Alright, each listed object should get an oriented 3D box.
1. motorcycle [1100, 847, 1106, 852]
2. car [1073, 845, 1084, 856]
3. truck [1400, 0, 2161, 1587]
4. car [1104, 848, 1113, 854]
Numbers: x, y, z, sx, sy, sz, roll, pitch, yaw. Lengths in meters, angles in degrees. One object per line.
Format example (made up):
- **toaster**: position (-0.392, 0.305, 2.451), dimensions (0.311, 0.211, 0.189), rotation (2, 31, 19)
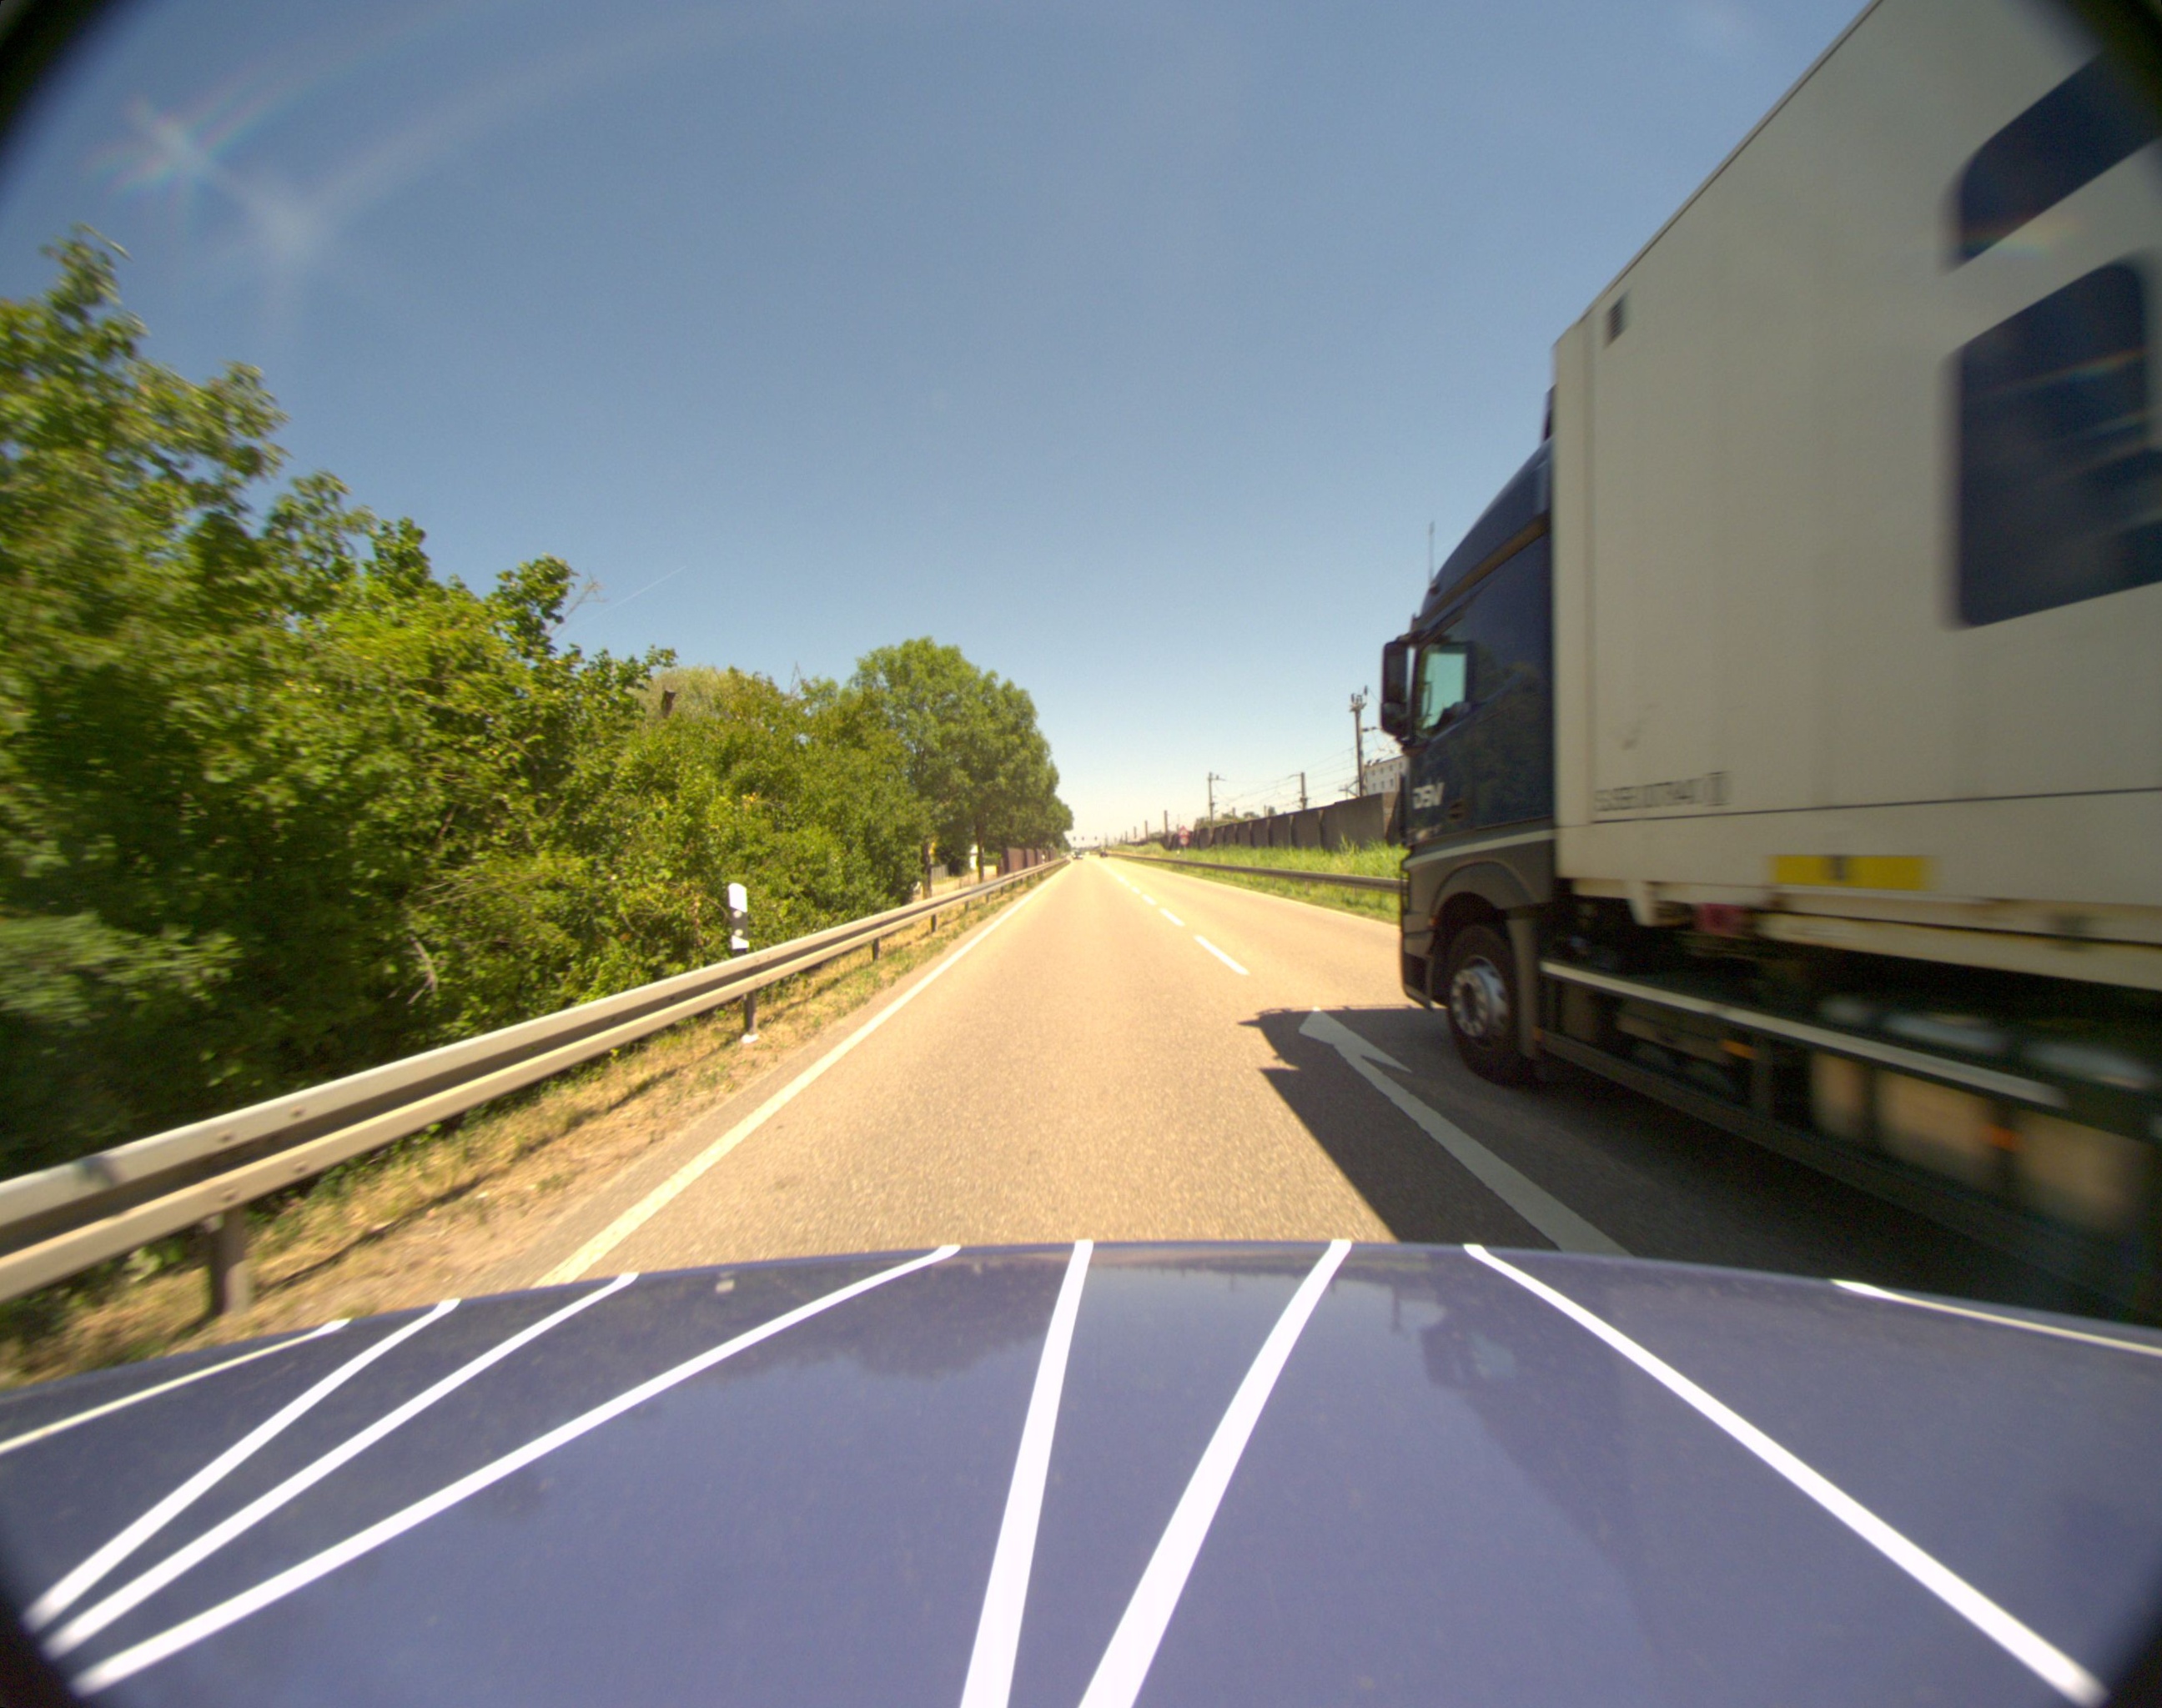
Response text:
- **motorcycle**: position (4.598, -0.912, 159.306), dimensions (1.240, 1.066, 3.128), rotation (-1, 1, 0)
- **car**: position (-0.451, -0.750, 144.940), dimensions (1.999, 2.002, 3.999), rotation (-2, 1, -1)
- **truck**: position (3.685, -0.409, 0.272), dimensions (2.804, 3.955, 10.499), rotation (-1, 1, 1)
- **car**: position (6.463, -0.719, 180.324), dimensions (1.999, 1.499, 3.999), rotation (-1, 1, -1)
